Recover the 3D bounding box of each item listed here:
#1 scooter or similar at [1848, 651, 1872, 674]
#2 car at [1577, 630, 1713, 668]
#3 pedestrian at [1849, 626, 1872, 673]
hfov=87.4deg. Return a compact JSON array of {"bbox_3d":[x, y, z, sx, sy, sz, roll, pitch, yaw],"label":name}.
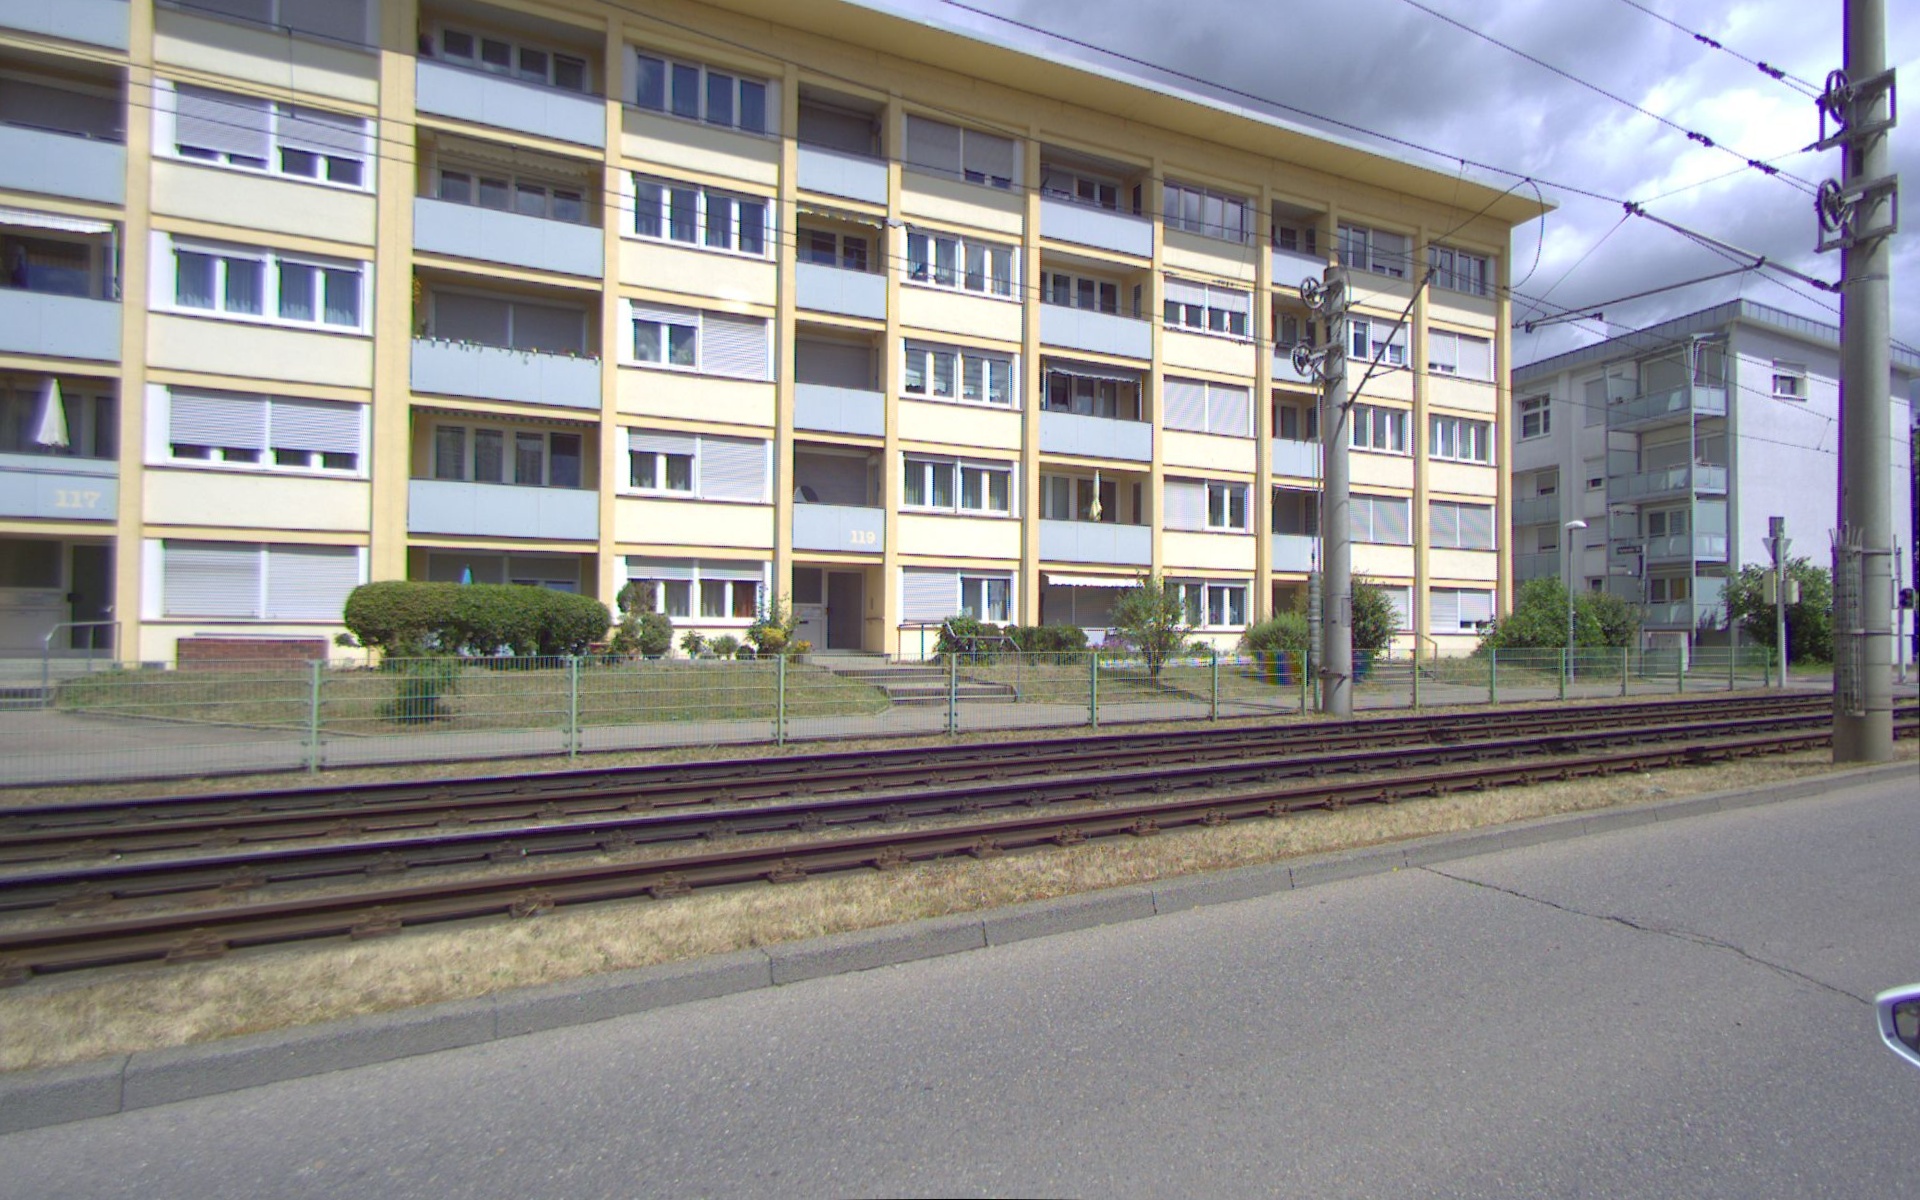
[{"bbox_3d":[30.362,2.103,33.893,0.468,0.757,0.436,1,-1,-25],"label":"scooter or similar"},{"bbox_3d":[26.351,1.838,38.792,1.873,1.363,3.980,1,-2,-21],"label":"car"},{"bbox_3d":[30.720,1.674,34.265,0.468,1.601,0.436,1,-1,-25],"label":"pedestrian"}]
